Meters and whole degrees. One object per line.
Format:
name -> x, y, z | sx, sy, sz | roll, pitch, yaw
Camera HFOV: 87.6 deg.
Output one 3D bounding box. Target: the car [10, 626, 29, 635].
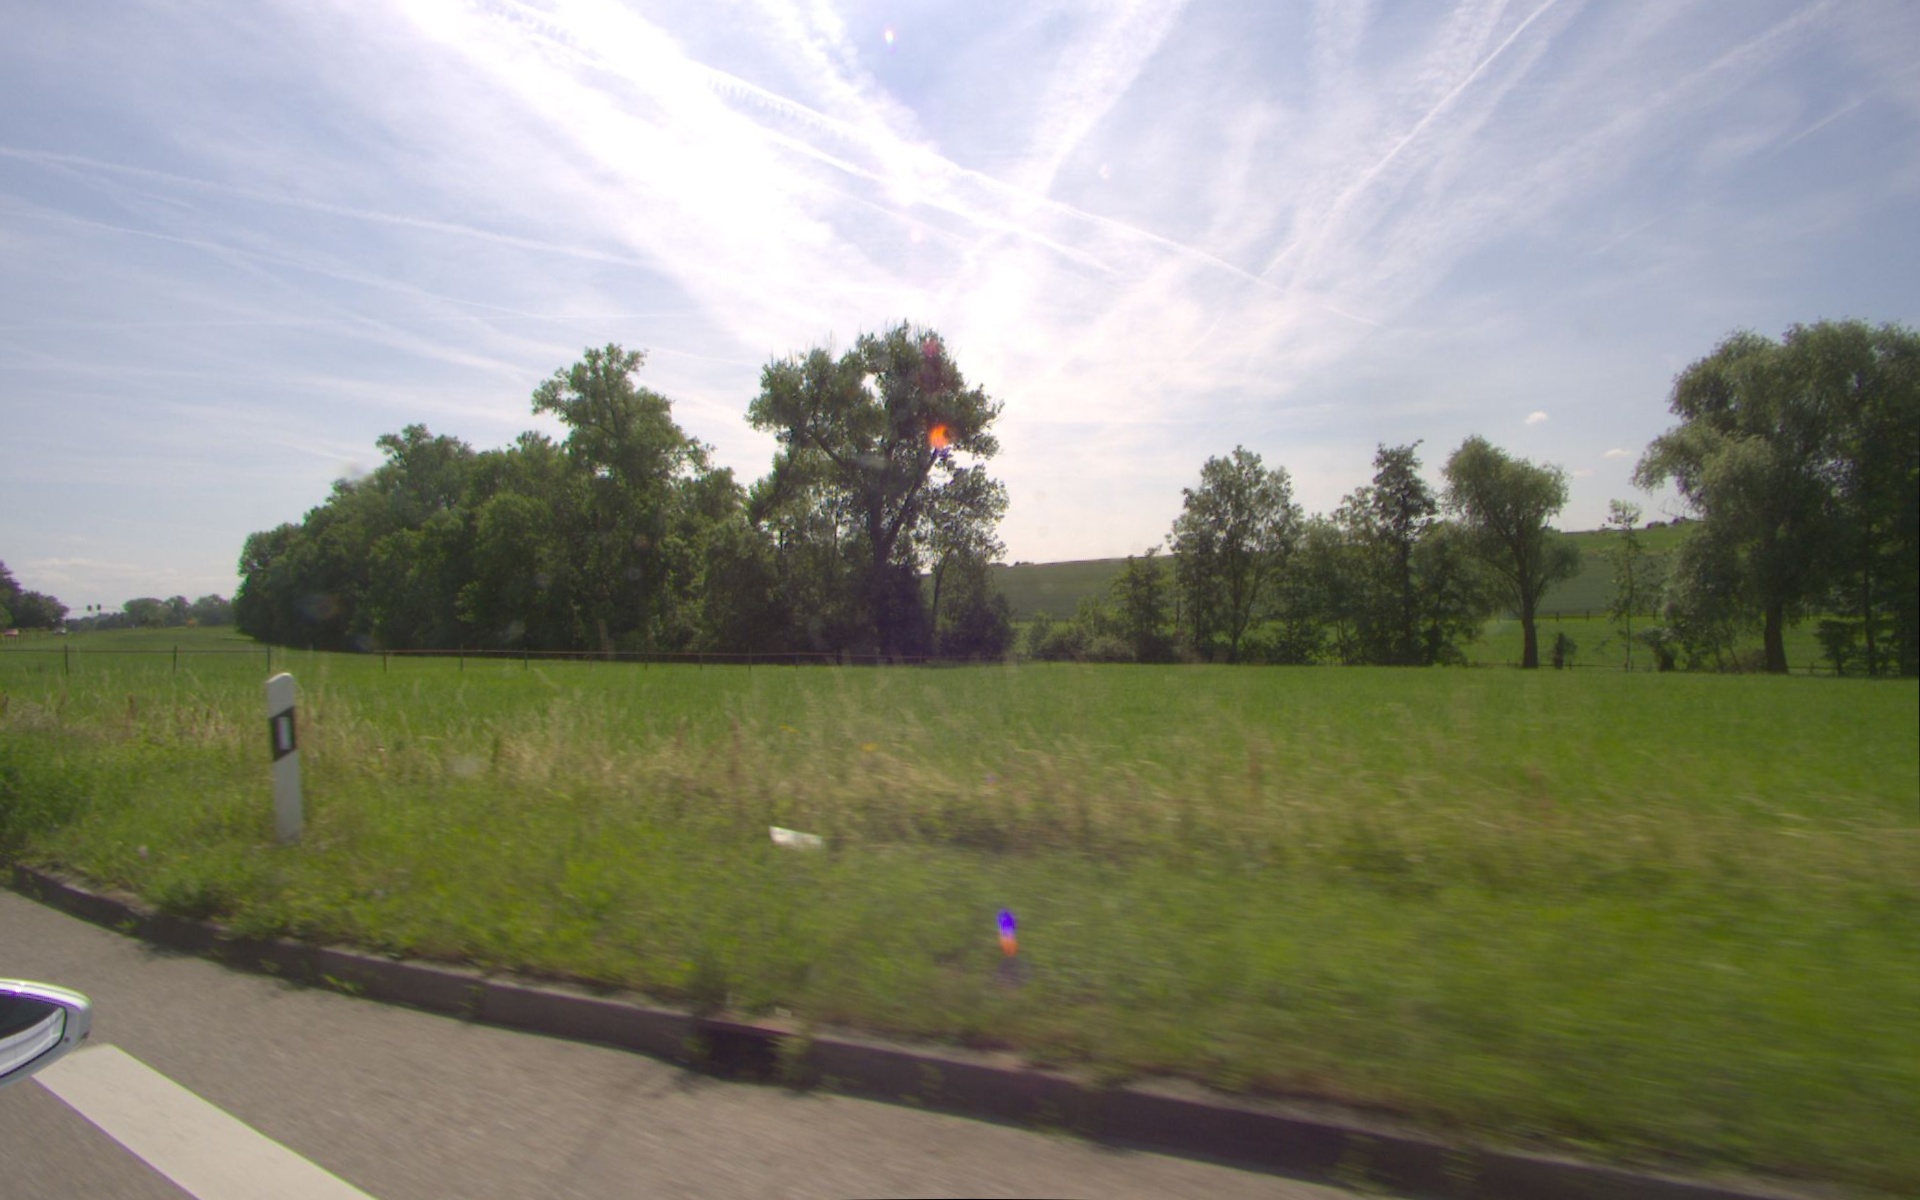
car -> -162.146, 5.287, 172.615 | 1.804, 1.487, 3.974 | 2, -3, -35
